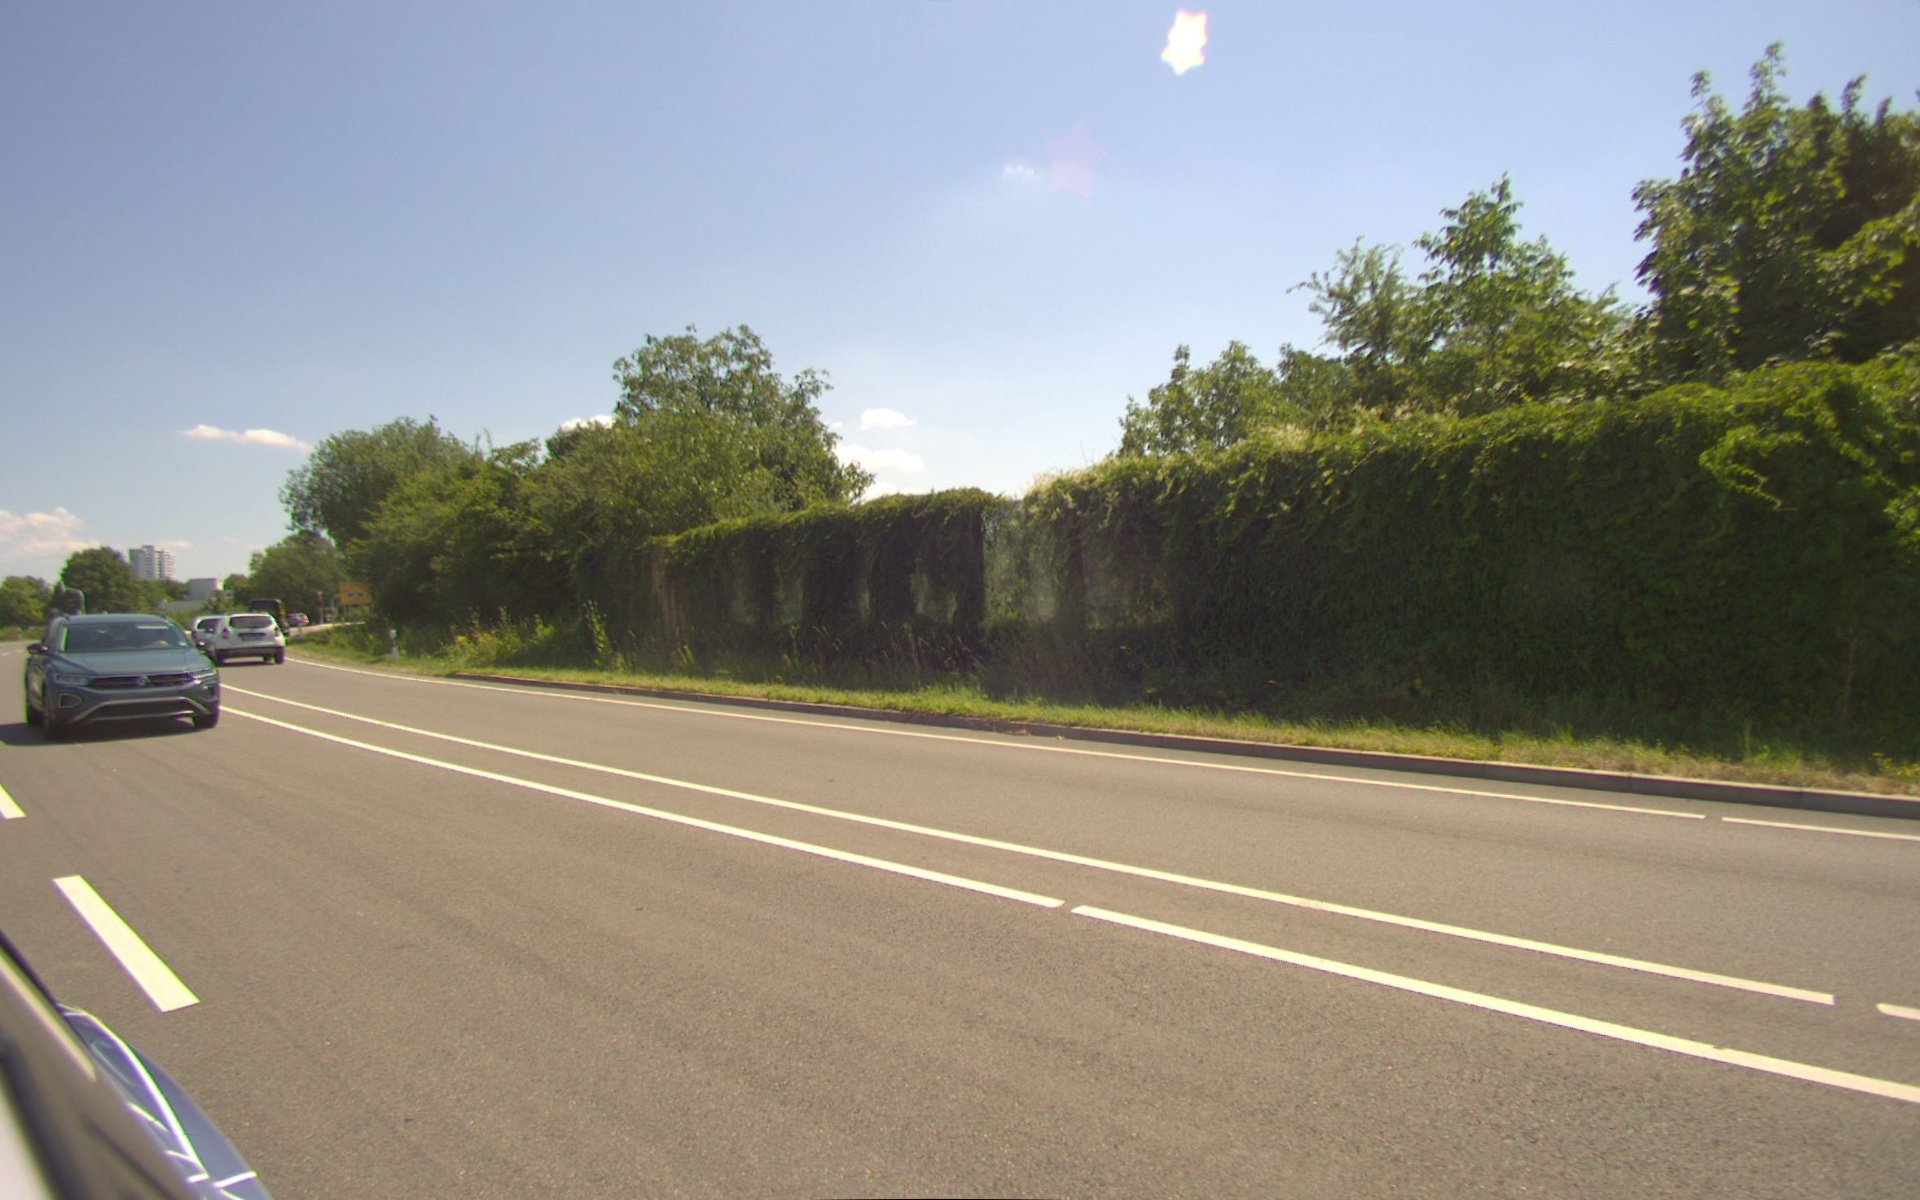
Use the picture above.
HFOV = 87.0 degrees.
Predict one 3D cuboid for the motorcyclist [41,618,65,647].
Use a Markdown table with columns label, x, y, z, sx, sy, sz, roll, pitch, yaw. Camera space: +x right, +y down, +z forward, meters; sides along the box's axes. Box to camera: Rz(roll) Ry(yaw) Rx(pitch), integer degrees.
| label | x | y | z | sx | sy | sz | roll | pitch | yaw |
| --- | --- | --- | --- | --- | --- | --- | --- | --- | --- |
| motorcyclist | -47.061 | 1.671 | 52.522 | 0.848 | 1.500 | 1.162 | 1 | -3 | -45 |

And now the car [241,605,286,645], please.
| label | x | y | z | sx | sy | sz | roll | pitch | yaw |
| --- | --- | --- | --- | --- | --- | --- | --- | --- | --- |
| car | -47.816 | 1.698 | 69.599 | 2.158 | 2.560 | 6.054 | -2 | 0 | -31 |

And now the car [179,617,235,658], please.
| label | x | y | z | sx | sy | sz | roll | pitch | yaw |
| --- | --- | --- | --- | --- | --- | --- | --- | --- | --- |
| car | -32.085 | 1.578 | 43.194 | 1.813 | 1.605 | 4.828 | -1 | -1 | -36 |

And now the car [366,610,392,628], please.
| label | x | y | z | sx | sy | sz | roll | pitch | yaw |
| --- | --- | --- | --- | --- | --- | --- | --- | --- | --- |
| car | -67.133 | 2.187 | 116.995 | 2.047 | 2.029 | 5.826 | -2 | 0 | -25 |

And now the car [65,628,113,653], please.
| label | x | y | z | sx | sy | sz | roll | pitch | yaw |
| --- | --- | --- | --- | --- | --- | --- | --- | --- | --- |
| car | -63.331 | 2.910 | 73.615 | 2.083 | 1.603 | 4.462 | -1 | 0 | -34 |

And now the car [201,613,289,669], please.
| label | x | y | z | sx | sy | sz | roll | pitch | yaw |
| --- | --- | --- | --- | --- | --- | --- | --- | --- | --- |
| car | -23.042 | 1.280 | 32.561 | 1.969 | 1.641 | 4.203 | 0 | -1 | -40 |

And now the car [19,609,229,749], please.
| label | x | y | z | sx | sy | sz | roll | pitch | yaw |
| --- | --- | --- | --- | --- | --- | --- | --- | --- | --- |
| car | -11.606 | 0.971 | 13.930 | 4.393 | 1.598 | 1.814 | -2 | -1 | 45 |

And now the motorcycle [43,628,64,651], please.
| label | x | y | z | sx | sy | sz | roll | pitch | yaw |
| --- | --- | --- | --- | --- | --- | --- | --- | --- | --- |
| motorcycle | -47.043 | 2.061 | 52.520 | 0.724 | 1.147 | 2.074 | 1 | -3 | -45 |
